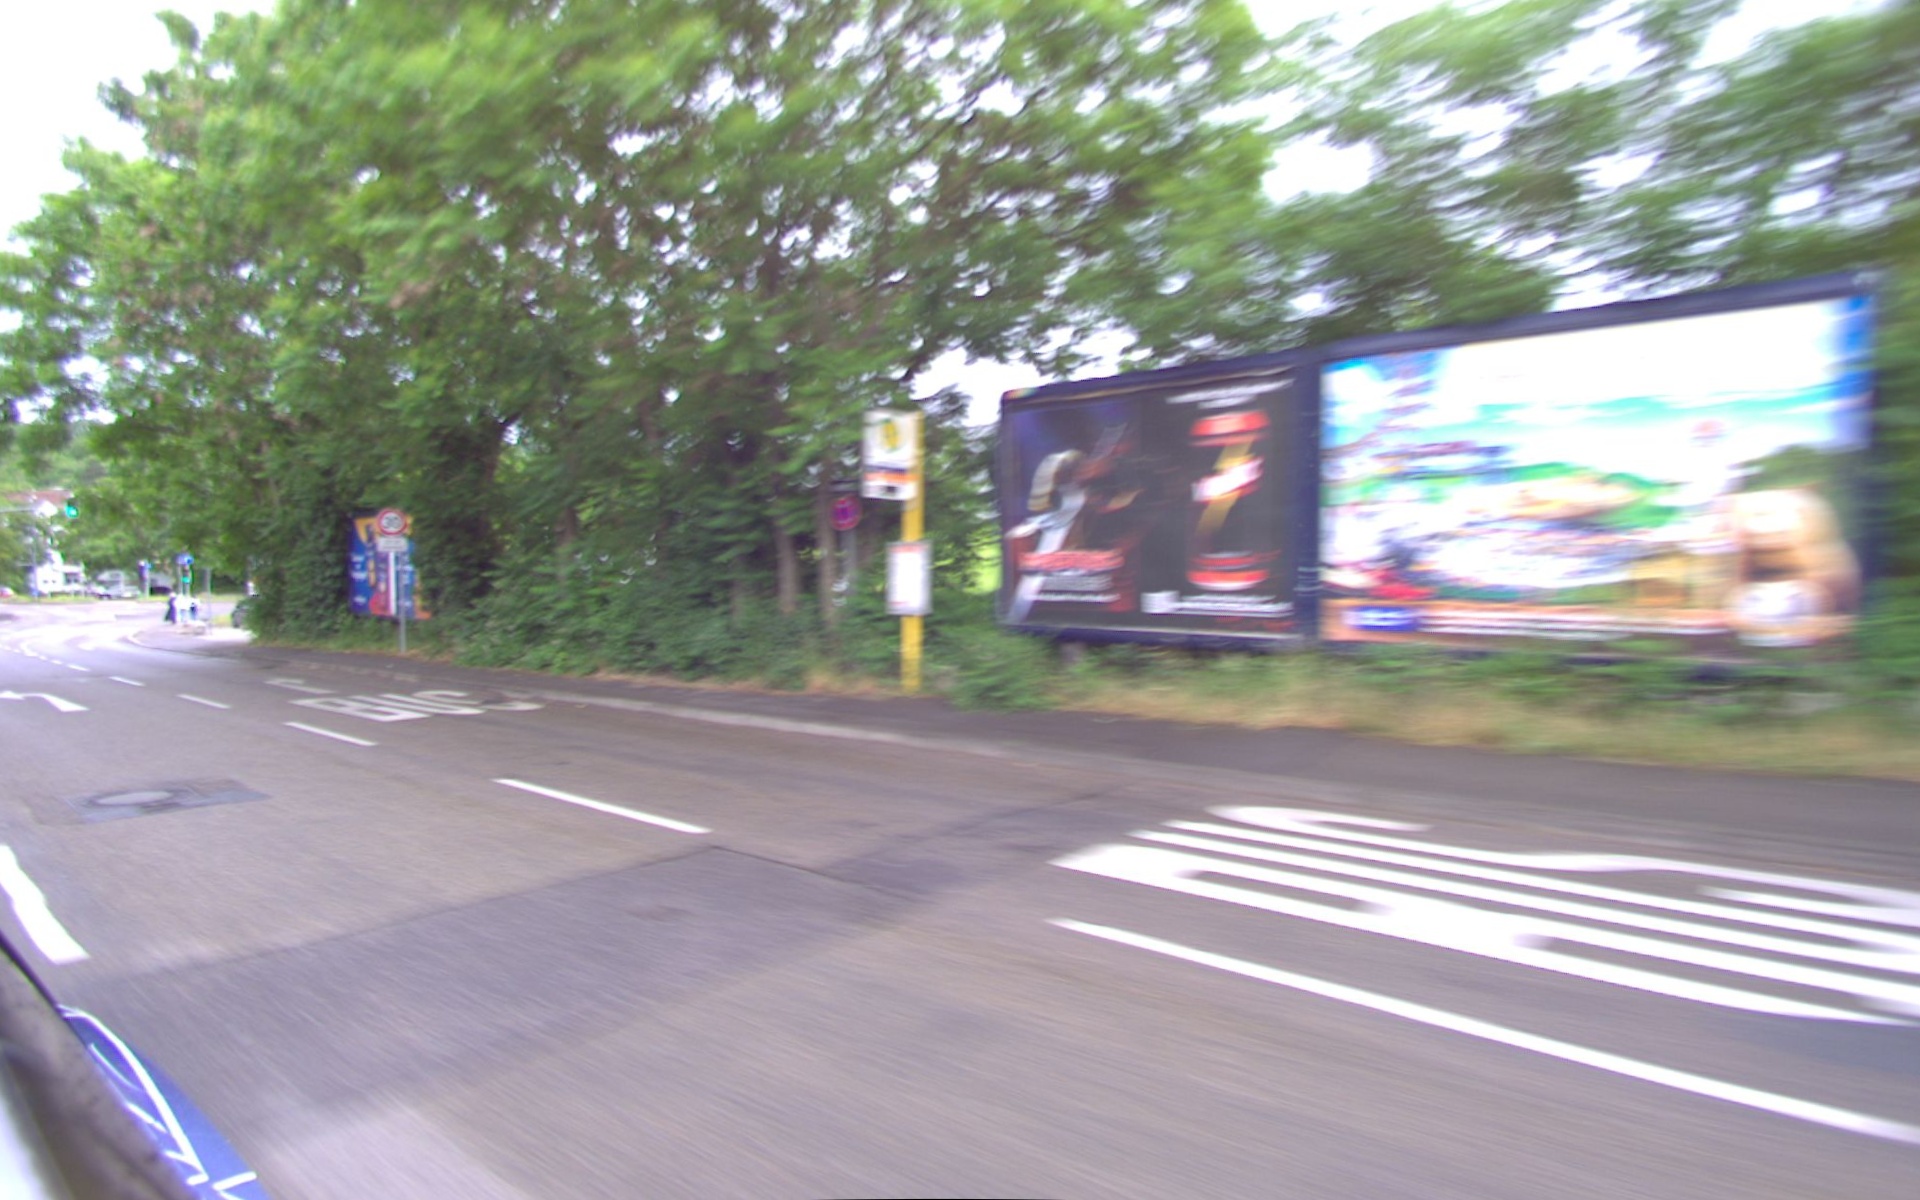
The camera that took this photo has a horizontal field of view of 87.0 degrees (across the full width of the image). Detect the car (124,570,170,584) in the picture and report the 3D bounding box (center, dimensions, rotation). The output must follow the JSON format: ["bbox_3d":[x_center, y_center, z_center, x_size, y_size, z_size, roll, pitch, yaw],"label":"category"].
[{"bbox_3d":[-80.779,-2.320,100.571,1.679,1.364,3.422,2,2,44],"label":"car"}]

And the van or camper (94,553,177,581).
[{"bbox_3d":[-83.170,-3.273,102.184,6.335,2.775,2.433,-1,2,-44],"label":"van or camper"}]

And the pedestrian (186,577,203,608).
[{"bbox_3d":[-40.631,-0.424,53.723,0.647,1.614,0.679,-3,2,-34],"label":"pedestrian"}]

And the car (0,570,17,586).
[{"bbox_3d":[-94.909,-2.119,98.954,1.679,1.560,3.942,2,2,44],"label":"car"}]

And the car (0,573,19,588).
[{"bbox_3d":[-93.337,-1.885,97.438,1.679,1.364,3.942,2,2,44],"label":"car"}]

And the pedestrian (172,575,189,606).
[{"bbox_3d":[-41.268,-0.500,53.587,0.597,1.614,0.679,-3,2,-34],"label":"pedestrian"}]

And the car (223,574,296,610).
[{"bbox_3d":[-31.084,-0.362,44.870,4.235,1.459,1.728,1,4,43],"label":"car"}]

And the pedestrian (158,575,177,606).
[{"bbox_3d":[-42.014,-0.514,53.653,0.647,1.614,0.679,-3,2,-34],"label":"pedestrian"}]

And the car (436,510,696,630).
[{"bbox_3d":[-9.438,-0.691,24.401,5.549,2.551,2.105,-2,2,13],"label":"car"}]
